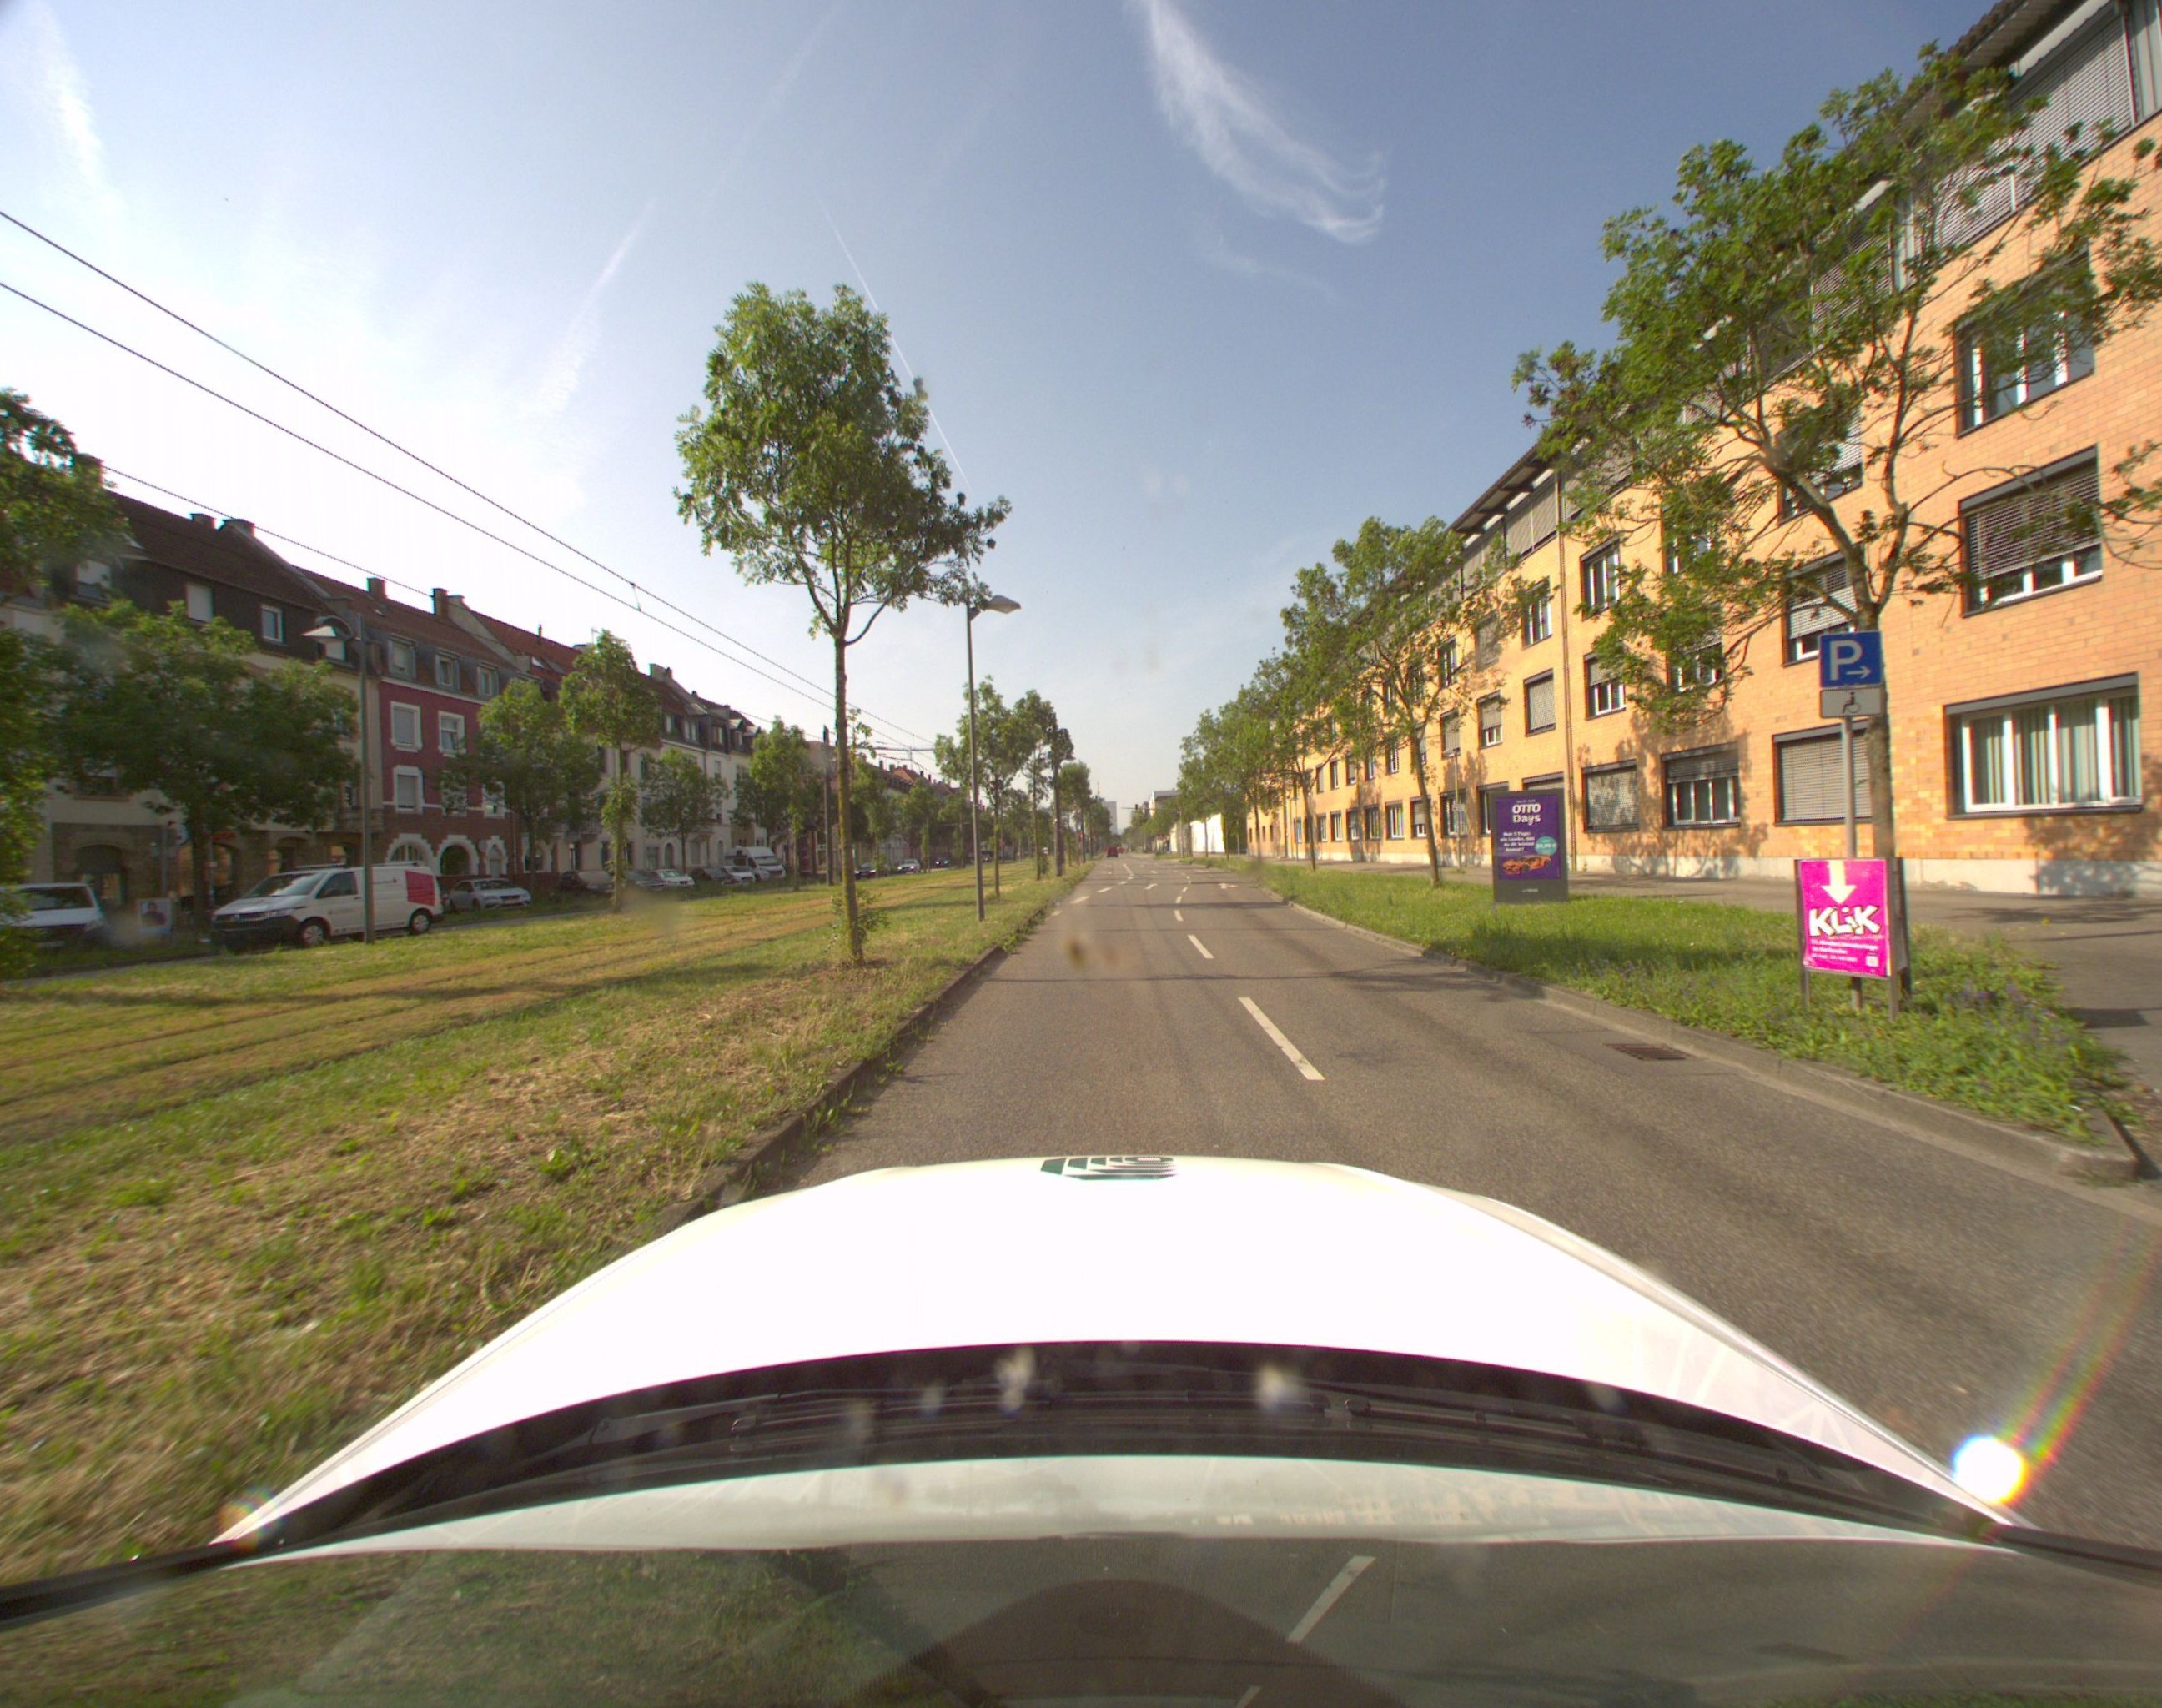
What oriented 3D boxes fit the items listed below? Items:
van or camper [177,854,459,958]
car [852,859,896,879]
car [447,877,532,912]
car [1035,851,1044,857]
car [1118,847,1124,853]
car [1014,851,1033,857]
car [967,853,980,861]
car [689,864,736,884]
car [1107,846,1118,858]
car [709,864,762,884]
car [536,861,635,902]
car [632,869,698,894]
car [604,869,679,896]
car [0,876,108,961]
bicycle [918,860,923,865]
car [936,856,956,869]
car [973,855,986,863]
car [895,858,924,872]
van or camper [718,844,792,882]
[{"bbox_3d":[-19.028,1.158,20.808,1.944,2.096,5.355,-3,1,1],"label":"van or camper"},{"bbox_3d":[-17.240,1.233,68.191,1.985,1.630,5.384,0,0,3],"label":"car"},{"bbox_3d":[-23.333,1.561,32.108,3.639,1.241,1.673,0,0,36],"label":"car"},{"bbox_3d":[-11.960,0.029,234.189,1.955,1.694,4.304,0,0,6],"label":"car"},{"bbox_3d":[10.986,-1.101,224.188,1.741,1.650,3.218,0,0,3],"label":"car"},{"bbox_3d":[-16.960,0.122,239.738,5.258,1.738,2.013,0,0,35],"label":"car"},{"bbox_3d":[-21.432,0.627,162.221,1.987,1.628,4.775,0,0,0],"label":"car"},{"bbox_3d":[-23.763,1.251,52.473,1.672,1.241,3.641,0,0,-44],"label":"car"},{"bbox_3d":[5.281,-0.360,137.010,1.741,2.014,3.218,0,0,3],"label":"car"},{"bbox_3d":[-23.612,1.349,55.604,3.639,1.331,1.673,0,0,36],"label":"car"},{"bbox_3d":[-23.985,1.338,39.407,4.590,1.742,1.845,-3,0,26],"label":"car"},{"bbox_3d":[-23.267,1.519,45.540,3.962,1.316,1.673,-1,-1,36],"label":"car"},{"bbox_3d":[-22.728,1.445,42.081,3.640,1.241,1.672,0,0,29],"label":"car"},{"bbox_3d":[-24.774,1.436,19.297,4.888,1.726,1.869,0,0,36],"label":"car"},{"bbox_3d":[-25.423,1.380,129.097,0.446,0.857,1.947,0,0,1],"label":"bicycle"},{"bbox_3d":[-18.226,1.129,110.083,1.757,1.655,4.002,0,0,2],"label":"car"},{"bbox_3d":[-18.061,0.864,144.677,1.806,1.433,3.927,0,0,1],"label":"car"},{"bbox_3d":[-17.681,1.112,84.134,1.941,1.459,4.648,0,0,1],"label":"car"},{"bbox_3d":[-23.678,0.625,59.034,5.849,2.573,2.213,0,0,36],"label":"van or camper"}]
